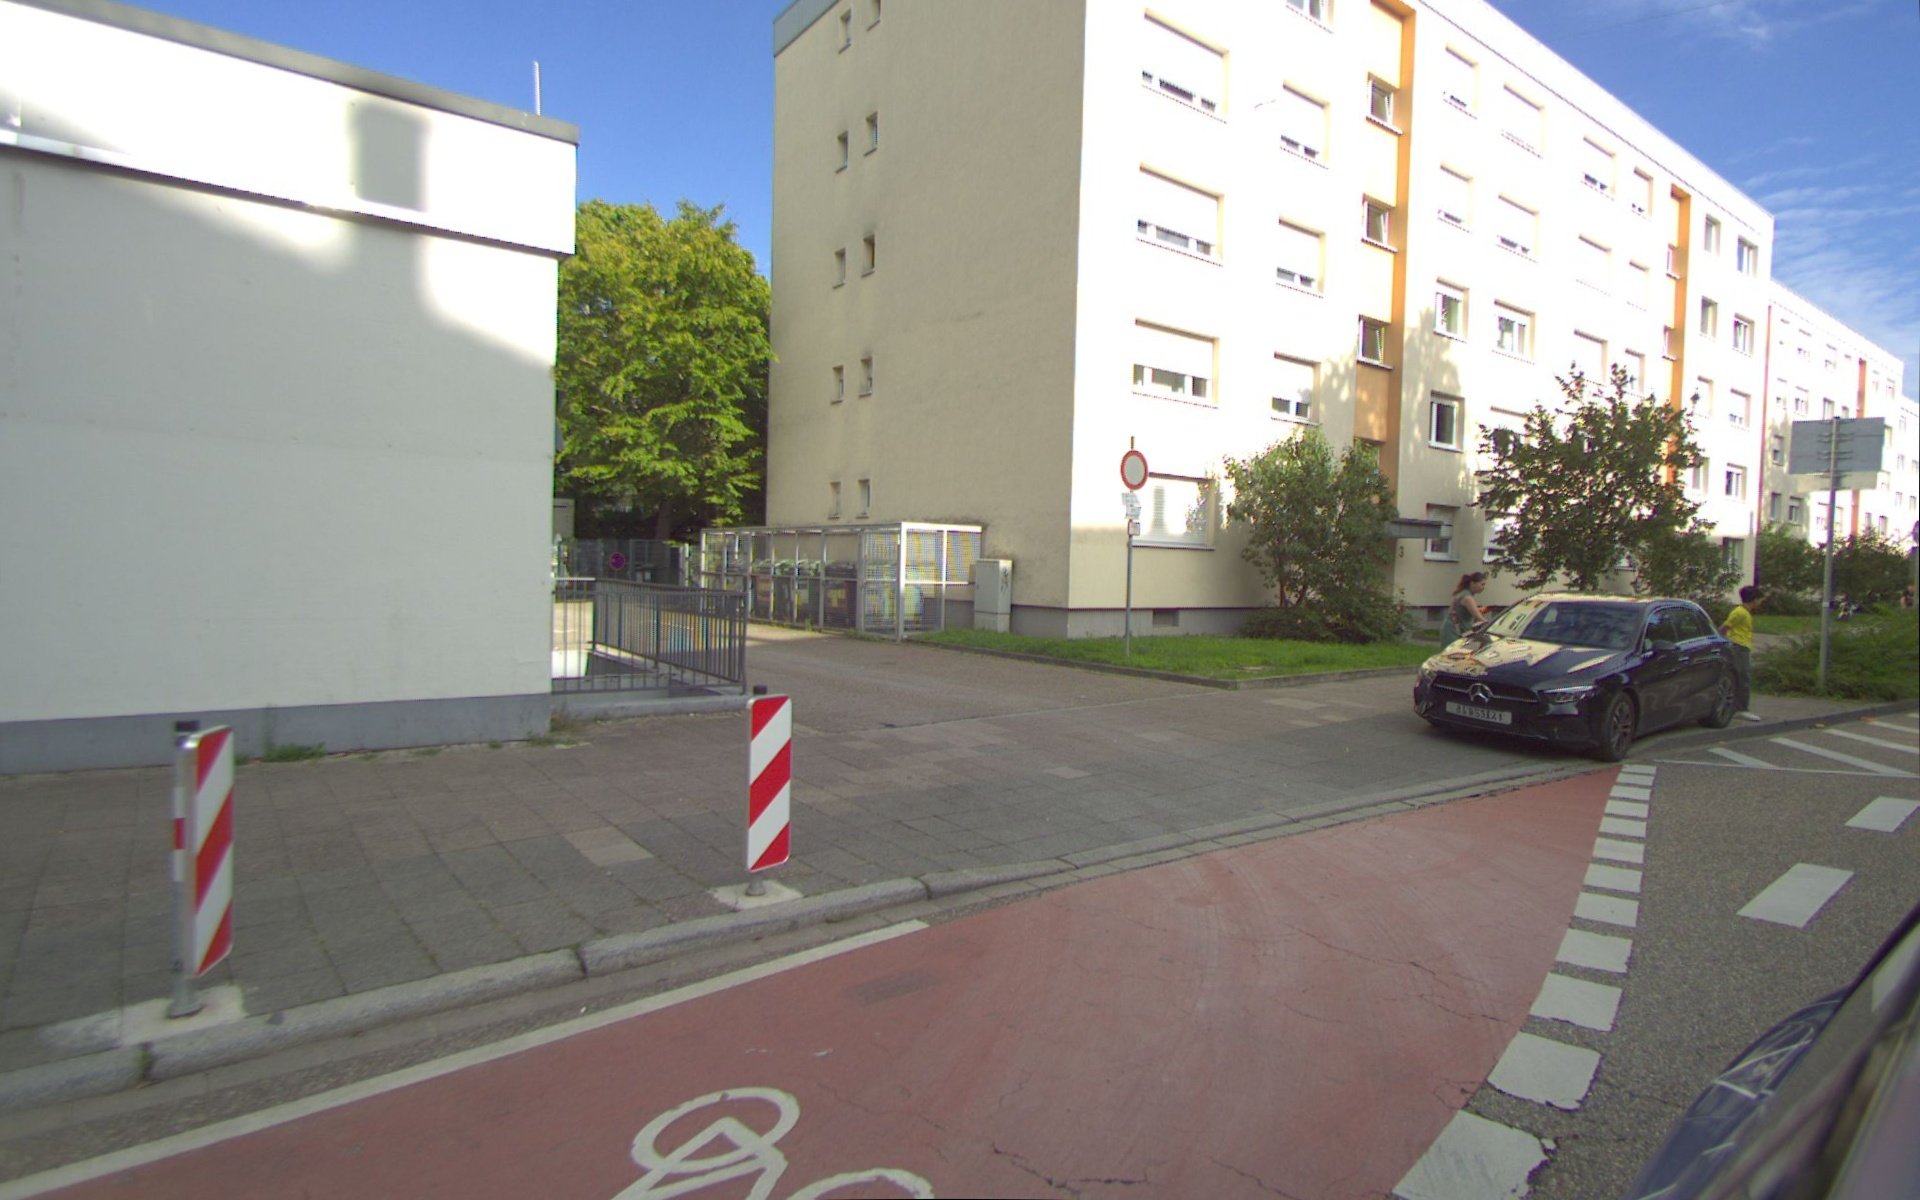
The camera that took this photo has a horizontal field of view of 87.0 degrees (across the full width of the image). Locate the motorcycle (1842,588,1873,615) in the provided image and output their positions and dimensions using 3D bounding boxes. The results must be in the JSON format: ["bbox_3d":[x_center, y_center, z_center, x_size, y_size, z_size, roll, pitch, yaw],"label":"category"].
[{"bbox_3d":[37.797,0.050,42.593,2.352,1.057,0.632,0,4,-41],"label":"motorcycle"}]

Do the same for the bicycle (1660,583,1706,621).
[{"bbox_3d":[22.812,0.050,31.926,2.170,1.128,0.598,0,4,-40],"label":"bicycle"}]

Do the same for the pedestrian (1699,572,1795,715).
[{"bbox_3d":[9.040,0.473,11.630,0.730,1.557,0.654,0,3,-40],"label":"pedestrian"}]

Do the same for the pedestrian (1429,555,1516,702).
[{"bbox_3d":[6.044,0.312,11.934,0.730,1.665,0.654,0,1,-40],"label":"pedestrian"}]

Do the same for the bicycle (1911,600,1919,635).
[{"bbox_3d":[33.732,0.609,35.347,1.896,1.149,0.524,-1,2,-41],"label":"bicycle"}]

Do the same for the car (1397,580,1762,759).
[{"bbox_3d":[6.502,0.561,10.464,4.154,1.428,1.767,0,4,-37],"label":"car"}]

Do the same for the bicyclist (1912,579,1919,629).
[{"bbox_3d":[33.768,0.142,35.361,0.877,1.698,0.624,0,2,-41],"label":"bicyclist"}]

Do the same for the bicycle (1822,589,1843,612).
[{"bbox_3d":[37.682,0.030,43.704,1.490,0.953,0.459,0,3,-41],"label":"bicycle"}]
